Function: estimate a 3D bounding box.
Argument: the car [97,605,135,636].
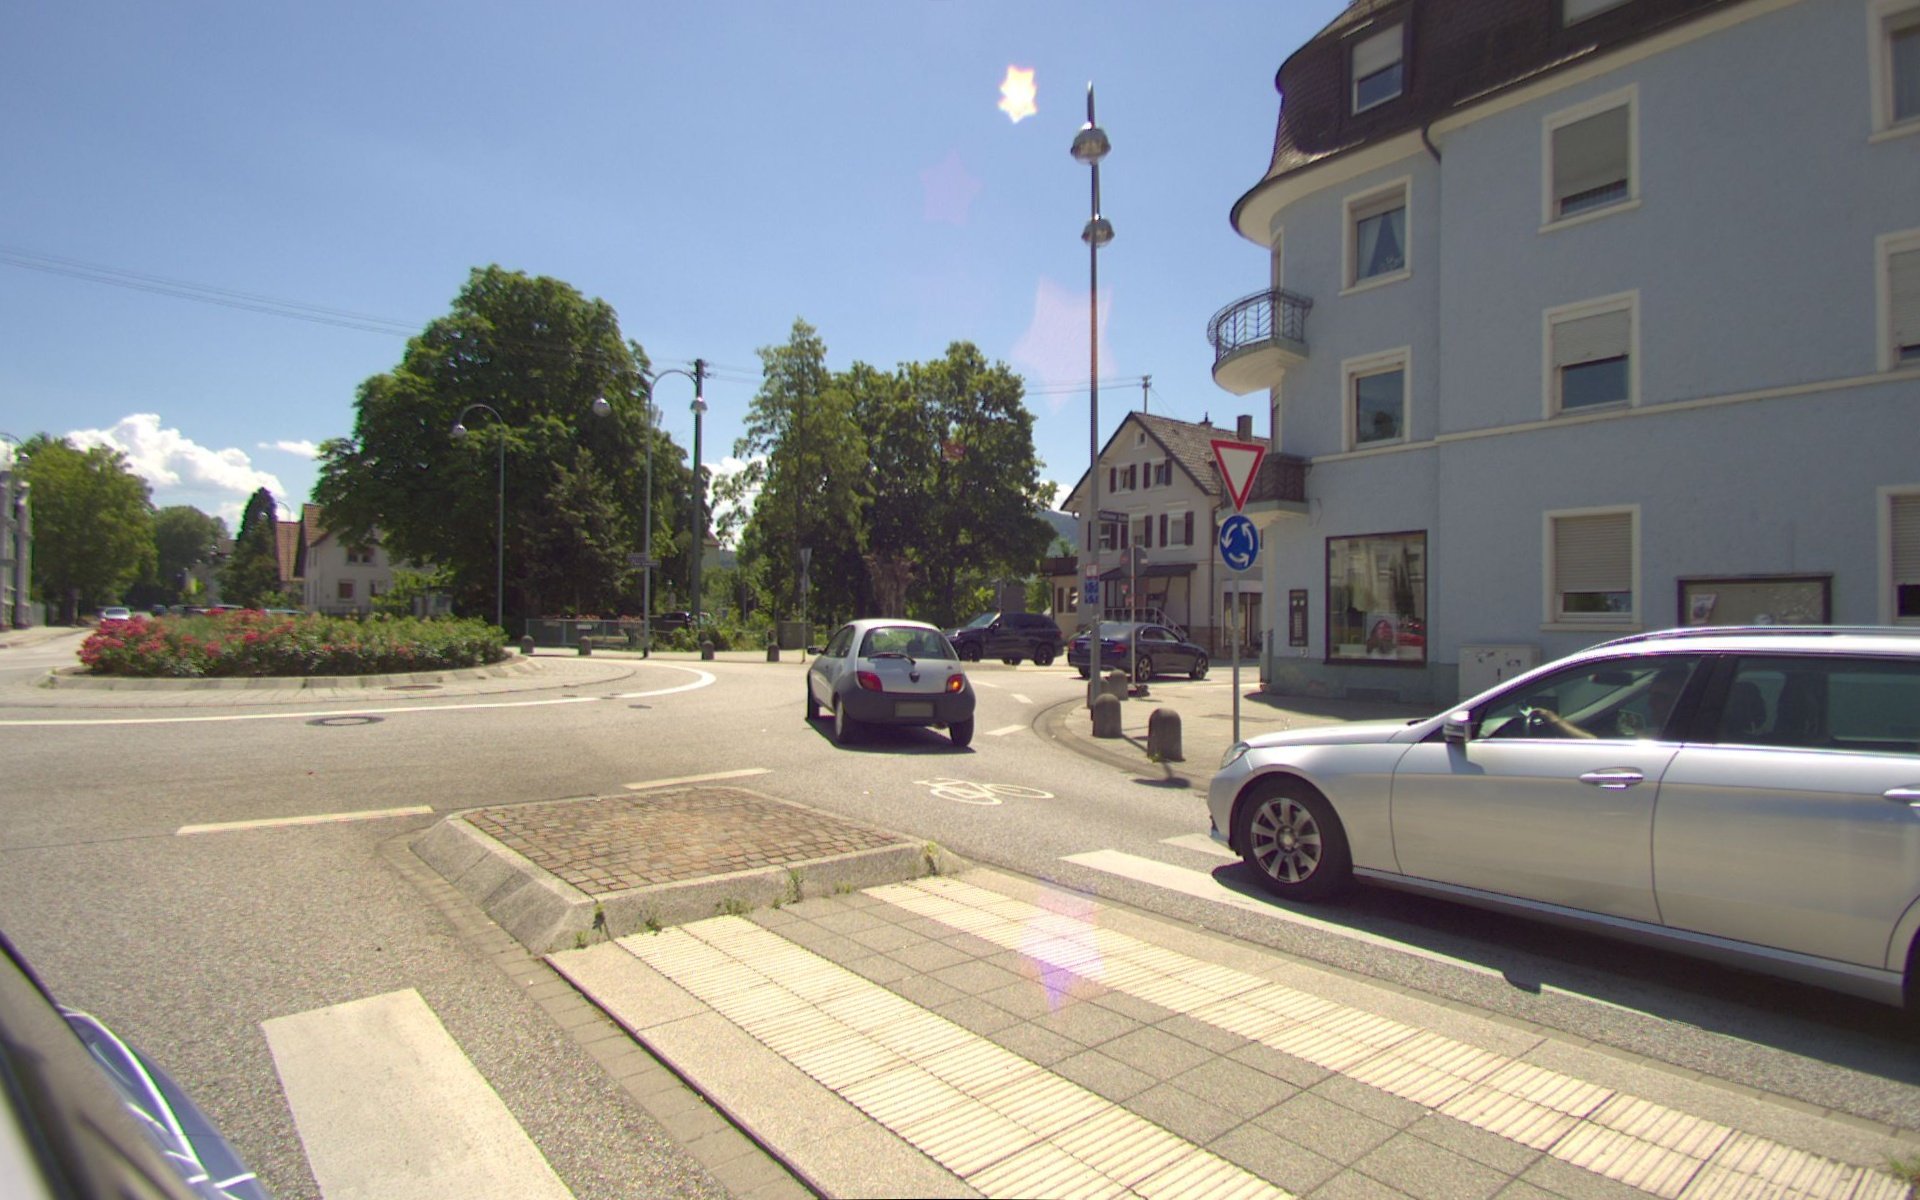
[{"bbox_3d":[-61.649,1.551,73.926,1.968,2.029,4.006,4,-6,-40],"label":"car"}]

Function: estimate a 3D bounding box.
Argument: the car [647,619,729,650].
[{"bbox_3d":[-14.857,1.875,55.337,3.970,1.613,1.830,0,-2,20],"label":"car"}]

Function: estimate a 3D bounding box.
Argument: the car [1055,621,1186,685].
[{"bbox_3d":[4.319,1.376,26.541,1.991,1.489,4.663,0,-3,28],"label":"car"}]

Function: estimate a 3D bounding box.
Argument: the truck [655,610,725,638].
[{"bbox_3d":[-25.419,2.244,95.525,6.120,2.462,2.268,1,-4,-7],"label":"truck"}]

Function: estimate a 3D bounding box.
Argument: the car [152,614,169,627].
[{"bbox_3d":[-120.695,3.109,152.704,1.713,1.719,4.004,1,-4,-42],"label":"car"}]

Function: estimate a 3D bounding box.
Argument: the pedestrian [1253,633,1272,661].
[{"bbox_3d":[14.257,2.234,47.716,0.572,1.295,0.686,2,-2,-40],"label":"pedestrian"}]

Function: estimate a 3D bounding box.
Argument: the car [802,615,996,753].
[{"bbox_3d":[-0.928,0.993,12.866,1.676,1.469,3.800,2,-2,-15],"label":"car"}]

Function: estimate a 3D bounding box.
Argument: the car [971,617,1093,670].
[{"bbox_3d":[2.289,1.339,31.895,3.535,1.558,1.759,2,-1,-36],"label":"car"}]

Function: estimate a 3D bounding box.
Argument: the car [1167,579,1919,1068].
[{"bbox_3d":[3.505,0.795,4.566,1.967,1.605,5.010,3,-3,-36],"label":"car"}]

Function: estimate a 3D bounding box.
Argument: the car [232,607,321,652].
[{"bbox_3d":[-26.265,1.092,38.836,4.289,1.392,1.905,4,3,43],"label":"car"}]

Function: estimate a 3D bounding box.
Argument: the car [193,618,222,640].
[{"bbox_3d":[-74.328,2.901,99.978,1.968,2.029,4.006,4,-6,-40],"label":"car"}]

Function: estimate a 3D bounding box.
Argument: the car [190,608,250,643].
[{"bbox_3d":[-36.527,1.248,49.917,1.969,1.574,4.172,5,-3,-41],"label":"car"}]
